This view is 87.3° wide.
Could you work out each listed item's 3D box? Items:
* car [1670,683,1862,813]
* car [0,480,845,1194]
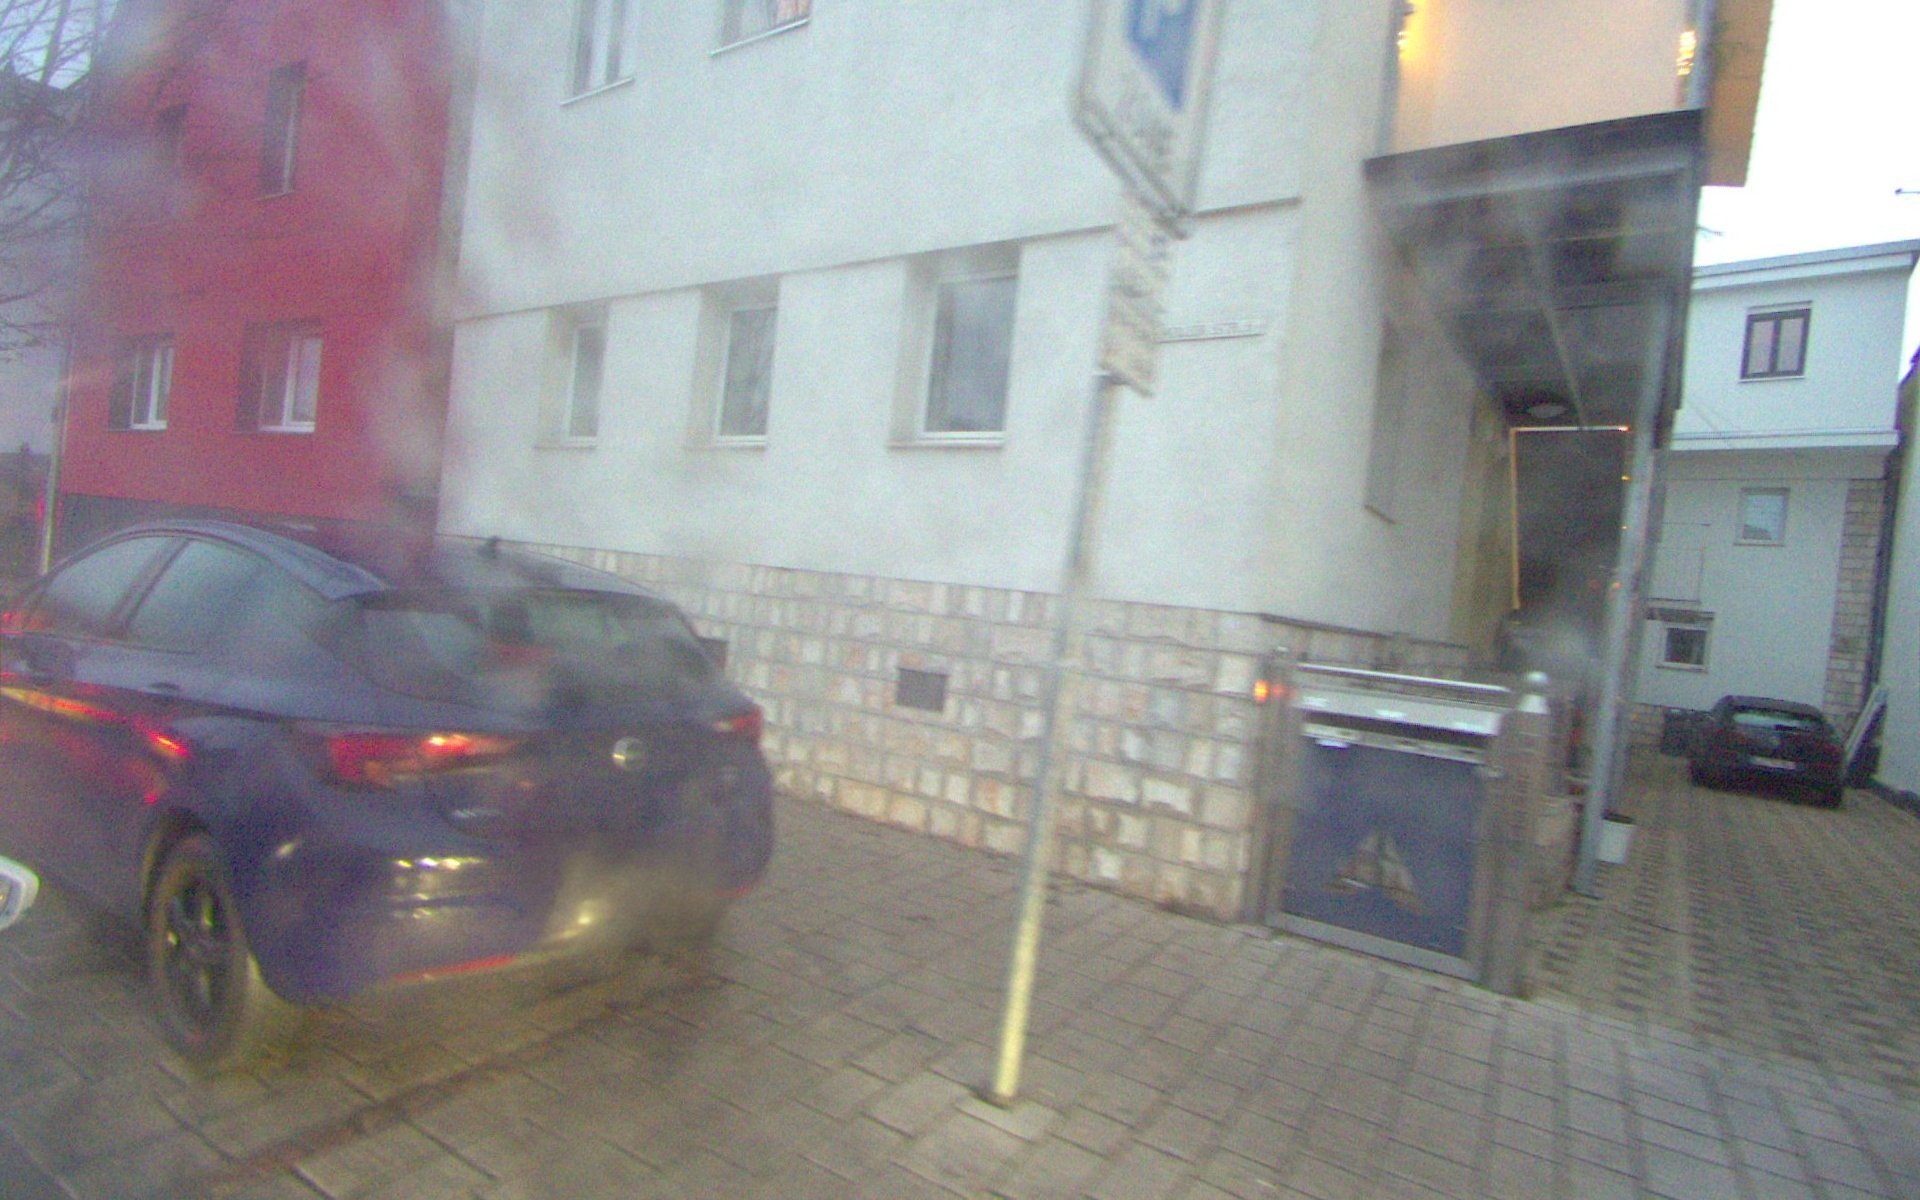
[{"bbox_3d":[12.819,2.252,16.262,1.906,1.434,3.949,9,2,34],"label":"car"},{"bbox_3d":[-2.655,0.396,4.072,4.131,1.484,1.727,7,3,34],"label":"car"}]
